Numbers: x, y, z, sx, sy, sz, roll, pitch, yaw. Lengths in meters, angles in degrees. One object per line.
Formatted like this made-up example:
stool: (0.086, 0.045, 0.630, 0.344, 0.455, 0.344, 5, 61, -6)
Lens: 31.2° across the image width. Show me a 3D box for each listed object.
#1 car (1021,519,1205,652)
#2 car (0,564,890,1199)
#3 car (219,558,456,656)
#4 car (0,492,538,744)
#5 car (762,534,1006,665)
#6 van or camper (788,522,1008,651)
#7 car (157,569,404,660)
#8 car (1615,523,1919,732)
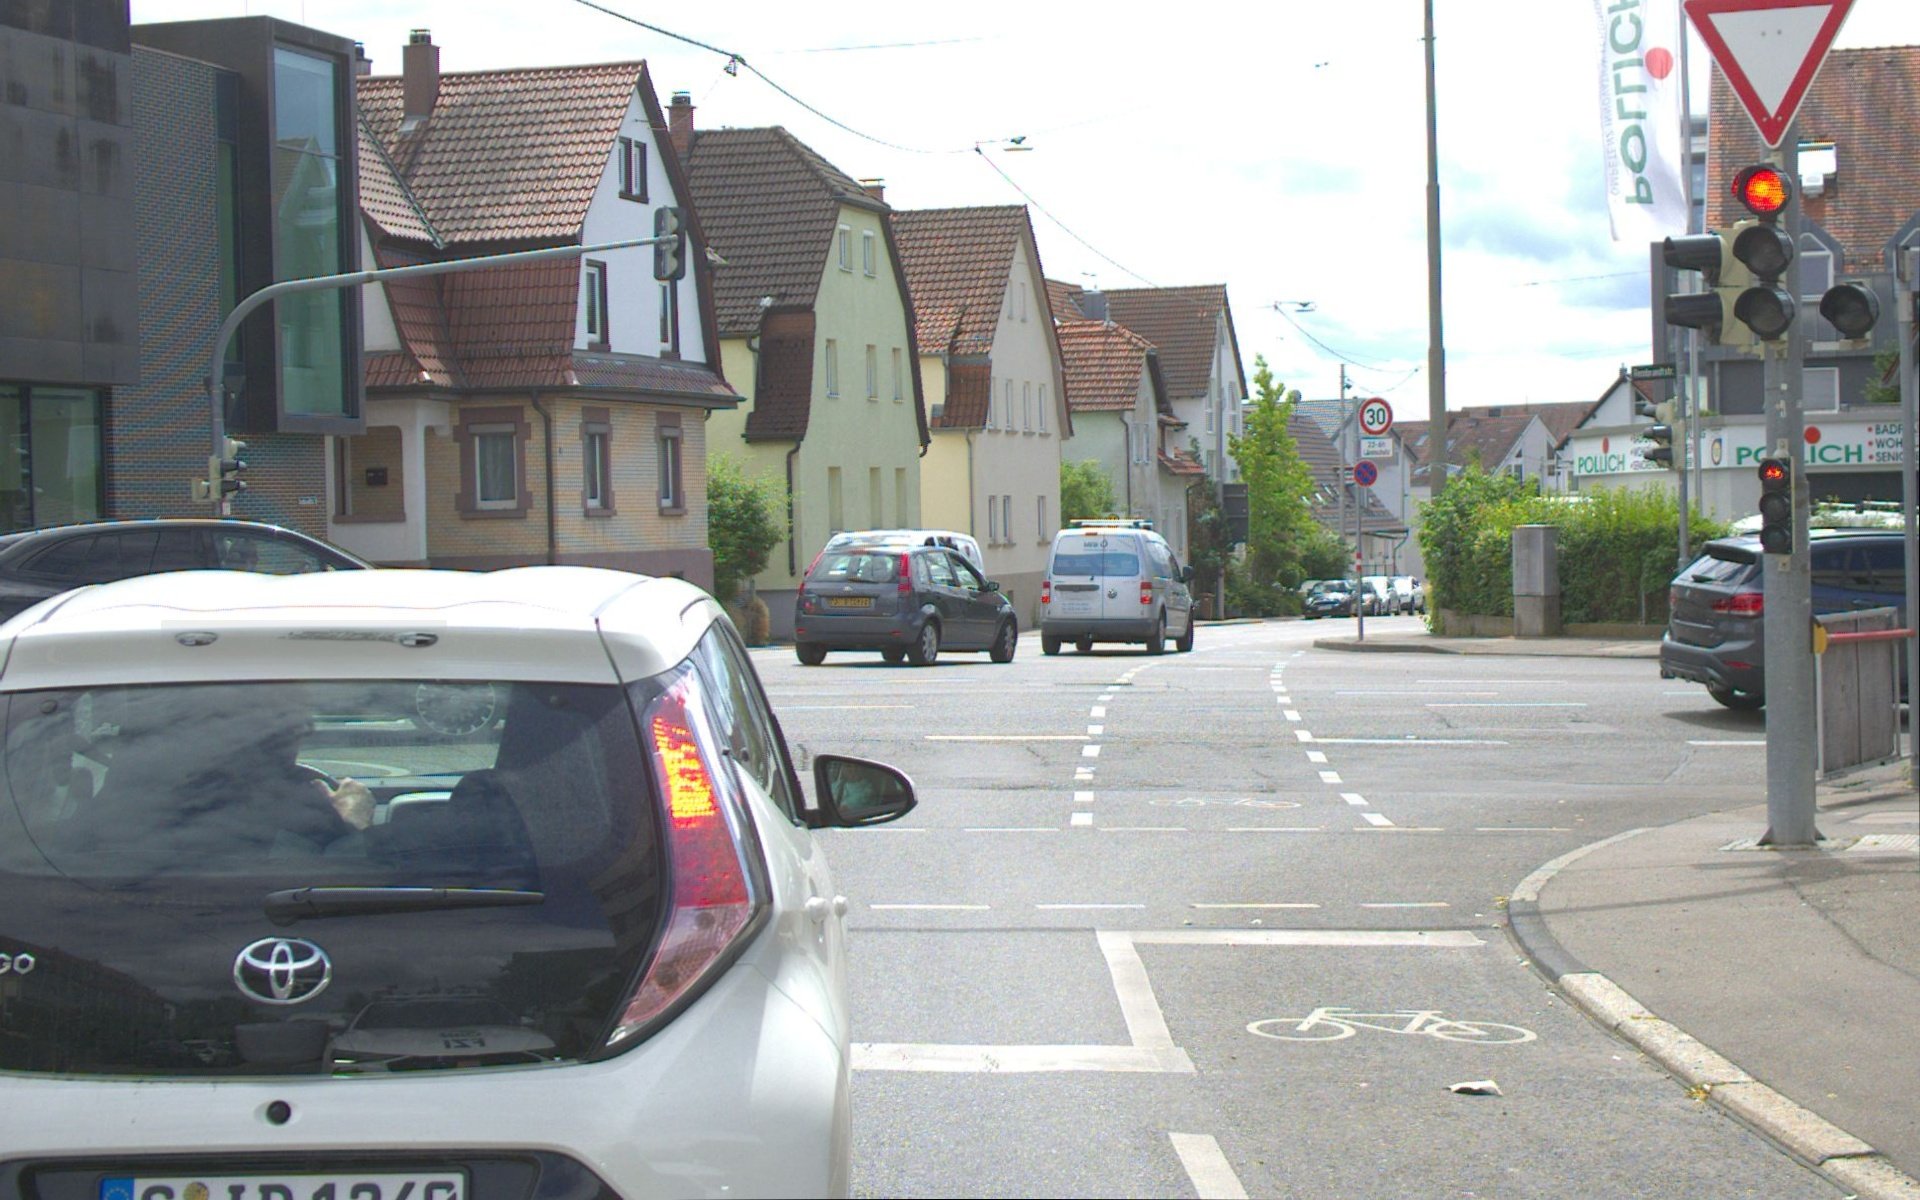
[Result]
car: (2.285, -0.231, 50.385, 1.995, 1.842, 4.071, 1, 1, 13)
car: (-1.019, 0.676, 6.310, 1.697, 1.451, 3.299, 1, 1, -2)
car: (-10.643, 0.108, 58.881, 3.616, 1.600, 1.691, 1, 1, 11)
car: (-5.559, 0.100, 26.416, 4.498, 1.737, 2.001, -1, 3, -9)
car: (-0.855, -0.033, 41.511, 1.995, 1.481, 3.998, 1, 1, 13)
van or camper: (-0.912, -0.238, 54.468, 2.117, 1.919, 5.282, 1, 1, 15)
car: (-11.201, 0.227, 56.759, 3.616, 1.414, 1.691, 1, 1, 11)
car: (7.967, 0.182, 29.168, 4.291, 1.670, 2.001, -1, 1, -11)
